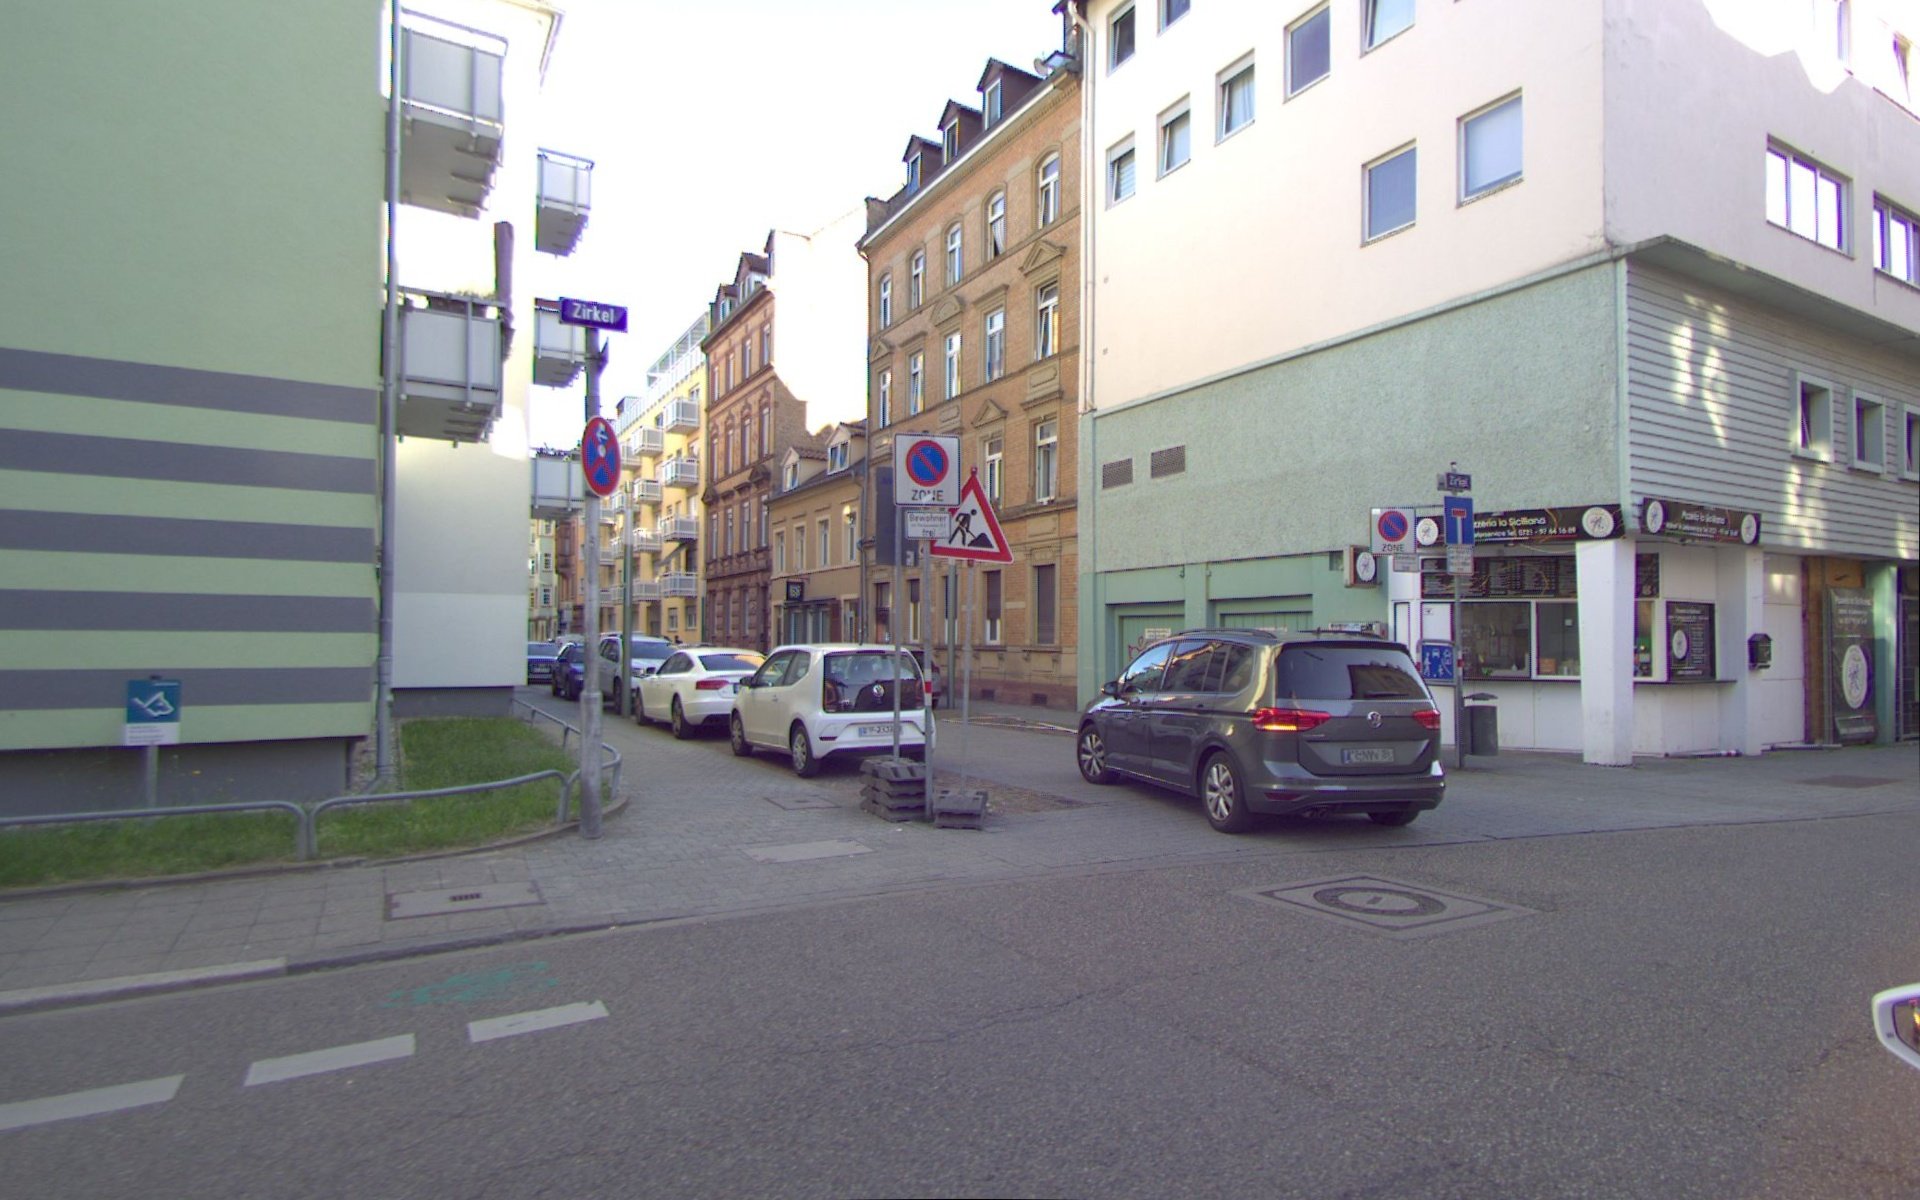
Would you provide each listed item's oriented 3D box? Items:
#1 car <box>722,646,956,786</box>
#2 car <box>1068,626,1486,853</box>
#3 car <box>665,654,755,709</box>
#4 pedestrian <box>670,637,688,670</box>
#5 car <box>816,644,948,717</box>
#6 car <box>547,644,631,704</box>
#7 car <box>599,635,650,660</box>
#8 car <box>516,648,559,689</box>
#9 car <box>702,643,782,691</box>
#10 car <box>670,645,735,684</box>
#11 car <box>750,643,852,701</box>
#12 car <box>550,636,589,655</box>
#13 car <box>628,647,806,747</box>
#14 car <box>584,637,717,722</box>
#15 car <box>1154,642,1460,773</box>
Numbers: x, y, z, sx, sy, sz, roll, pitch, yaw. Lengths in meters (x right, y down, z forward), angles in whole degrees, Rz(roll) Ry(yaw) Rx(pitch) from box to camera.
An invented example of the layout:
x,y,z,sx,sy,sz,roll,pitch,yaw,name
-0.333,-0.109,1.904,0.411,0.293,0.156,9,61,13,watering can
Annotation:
x,y,z,sx,sy,sz,roll,pitch,yaw,name
-1.613,1.310,12.468,1.705,1.456,3.318,2,-3,-31,car
2.570,1.071,9.317,1.757,1.589,4.158,1,-2,-15,car
-7.175,2.268,28.609,1.566,1.400,3.872,2,-3,-29,car
-13.794,2.624,49.306,0.683,1.602,0.630,2,0,-33,pedestrian
-1.942,1.836,23.917,1.764,1.501,3.886,0,-2,-28,car
-9.765,1.879,26.302,1.469,1.408,3.377,0,-2,-31,car
-17.317,2.442,51.751,1.768,1.202,3.055,0,-2,-34,car
-15.156,2.419,35.961,1.242,1.307,3.063,0,-2,-26,car
-7.673,2.292,35.155,1.764,1.501,3.886,0,-2,-28,car
-10.163,2.496,39.479,1.764,1.426,3.461,0,-2,-28,car
-4.669,2.026,29.059,1.764,1.501,3.886,0,-2,-28,car
-25.762,2.997,66.187,1.768,1.202,3.055,0,-2,-34,car
-4.216,1.531,16.941,1.739,1.416,4.294,2,-3,-30,car
-6.810,1.639,21.836,1.740,1.632,4.111,0,-2,-33,car
4.658,1.368,14.051,1.673,1.540,3.913,2,-3,-30,car
